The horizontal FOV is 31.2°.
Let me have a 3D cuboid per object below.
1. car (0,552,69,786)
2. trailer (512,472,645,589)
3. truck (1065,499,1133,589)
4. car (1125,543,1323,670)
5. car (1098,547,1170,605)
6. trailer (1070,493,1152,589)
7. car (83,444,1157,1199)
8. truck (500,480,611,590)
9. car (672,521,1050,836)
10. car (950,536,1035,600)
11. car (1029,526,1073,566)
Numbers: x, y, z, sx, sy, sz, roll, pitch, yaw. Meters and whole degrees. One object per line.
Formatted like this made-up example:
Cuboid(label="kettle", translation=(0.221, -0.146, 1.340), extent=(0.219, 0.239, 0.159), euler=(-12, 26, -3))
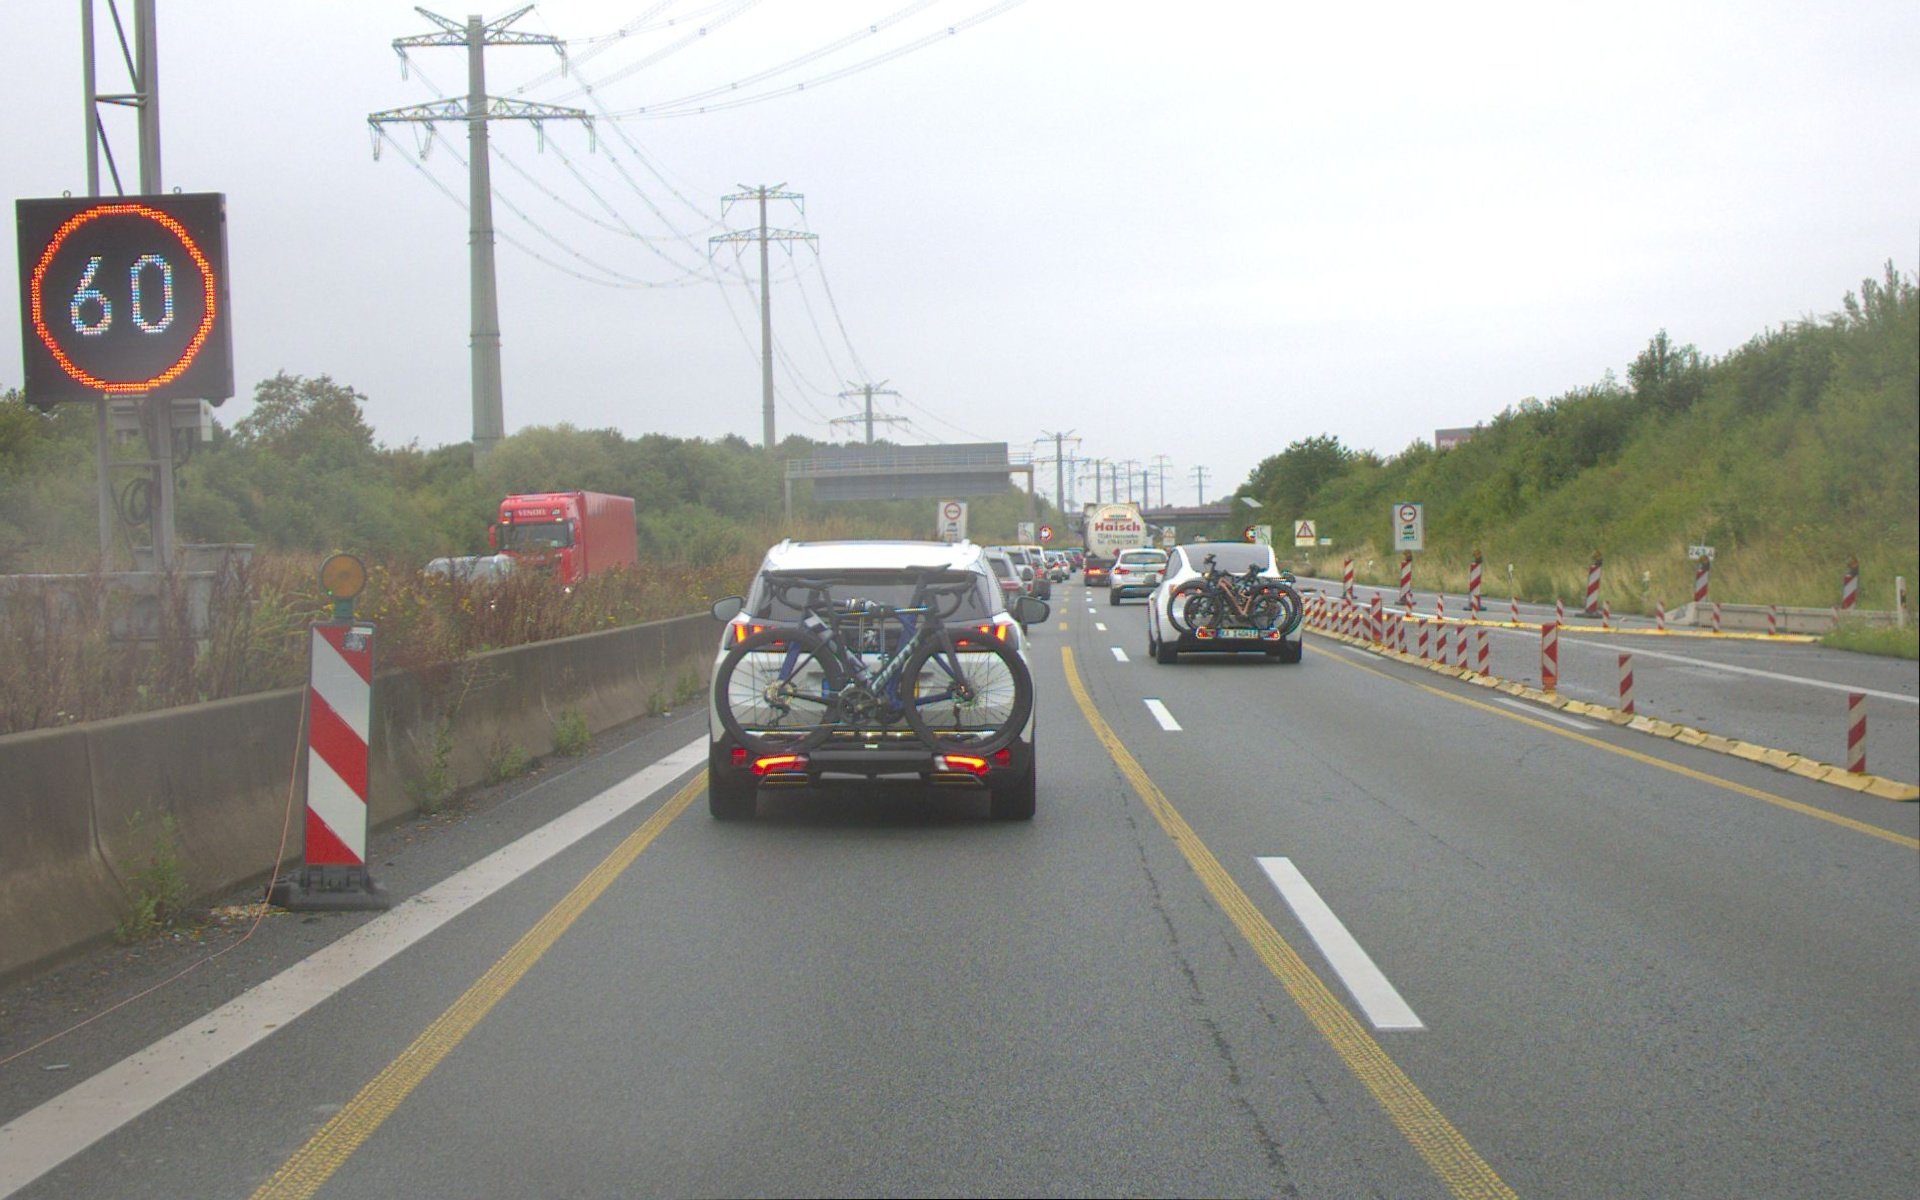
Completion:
Cuboid(label="car", translation=(-8.992, 0.564, 28.588), extent=(1.993, 1.952, 4.672), euler=(1, 0, -1))
Cuboid(label="trailer", translation=(-13.212, -2.321, 120.277), extent=(3.037, 3.801, 13.978), euler=(1, 0, 0))
Cuboid(label="truck", translation=(6.120, -2.456, 151.873), extent=(2.644, 3.877, 4.030), euler=(1, 0, -2))
Cuboid(label="car", translation=(3.489, 0.045, 46.560), extent=(2.045, 1.590, 5.802), euler=(1, 1, -2))
Cuboid(label="car", translation=(4.744, -0.675, 94.068), extent=(1.870, 1.529, 4.196), euler=(0, 1, 2))
Cuboid(label="trailer", translation=(6.319, -2.426, 145.388), extent=(2.637, 3.880, 10.544), euler=(1, 0, -2))
Cuboid(label="car", translation=(-0.642, 0.569, 8.515), extent=(1.993, 1.754, 4.000), euler=(-2, 1, 0))
Cuboid(label="truck", translation=(-13.251, -2.107, 112.989), extent=(3.024, 3.519, 4.926), euler=(1, 0, 0))
Cuboid(label="car", translation=(-0.481, 0.364, 19.849), extent=(1.928, 1.605, 4.595), euler=(0, 1, 1))
Cuboid(label="car", translation=(0.797, -0.830, 87.393), extent=(1.993, 1.578, 4.000), euler=(0, 1, -2))
Cuboid(label="car", translation=(4.658, -2.755, 175.835), extent=(1.993, 2.007, 4.000), euler=(1, 0, -2))
